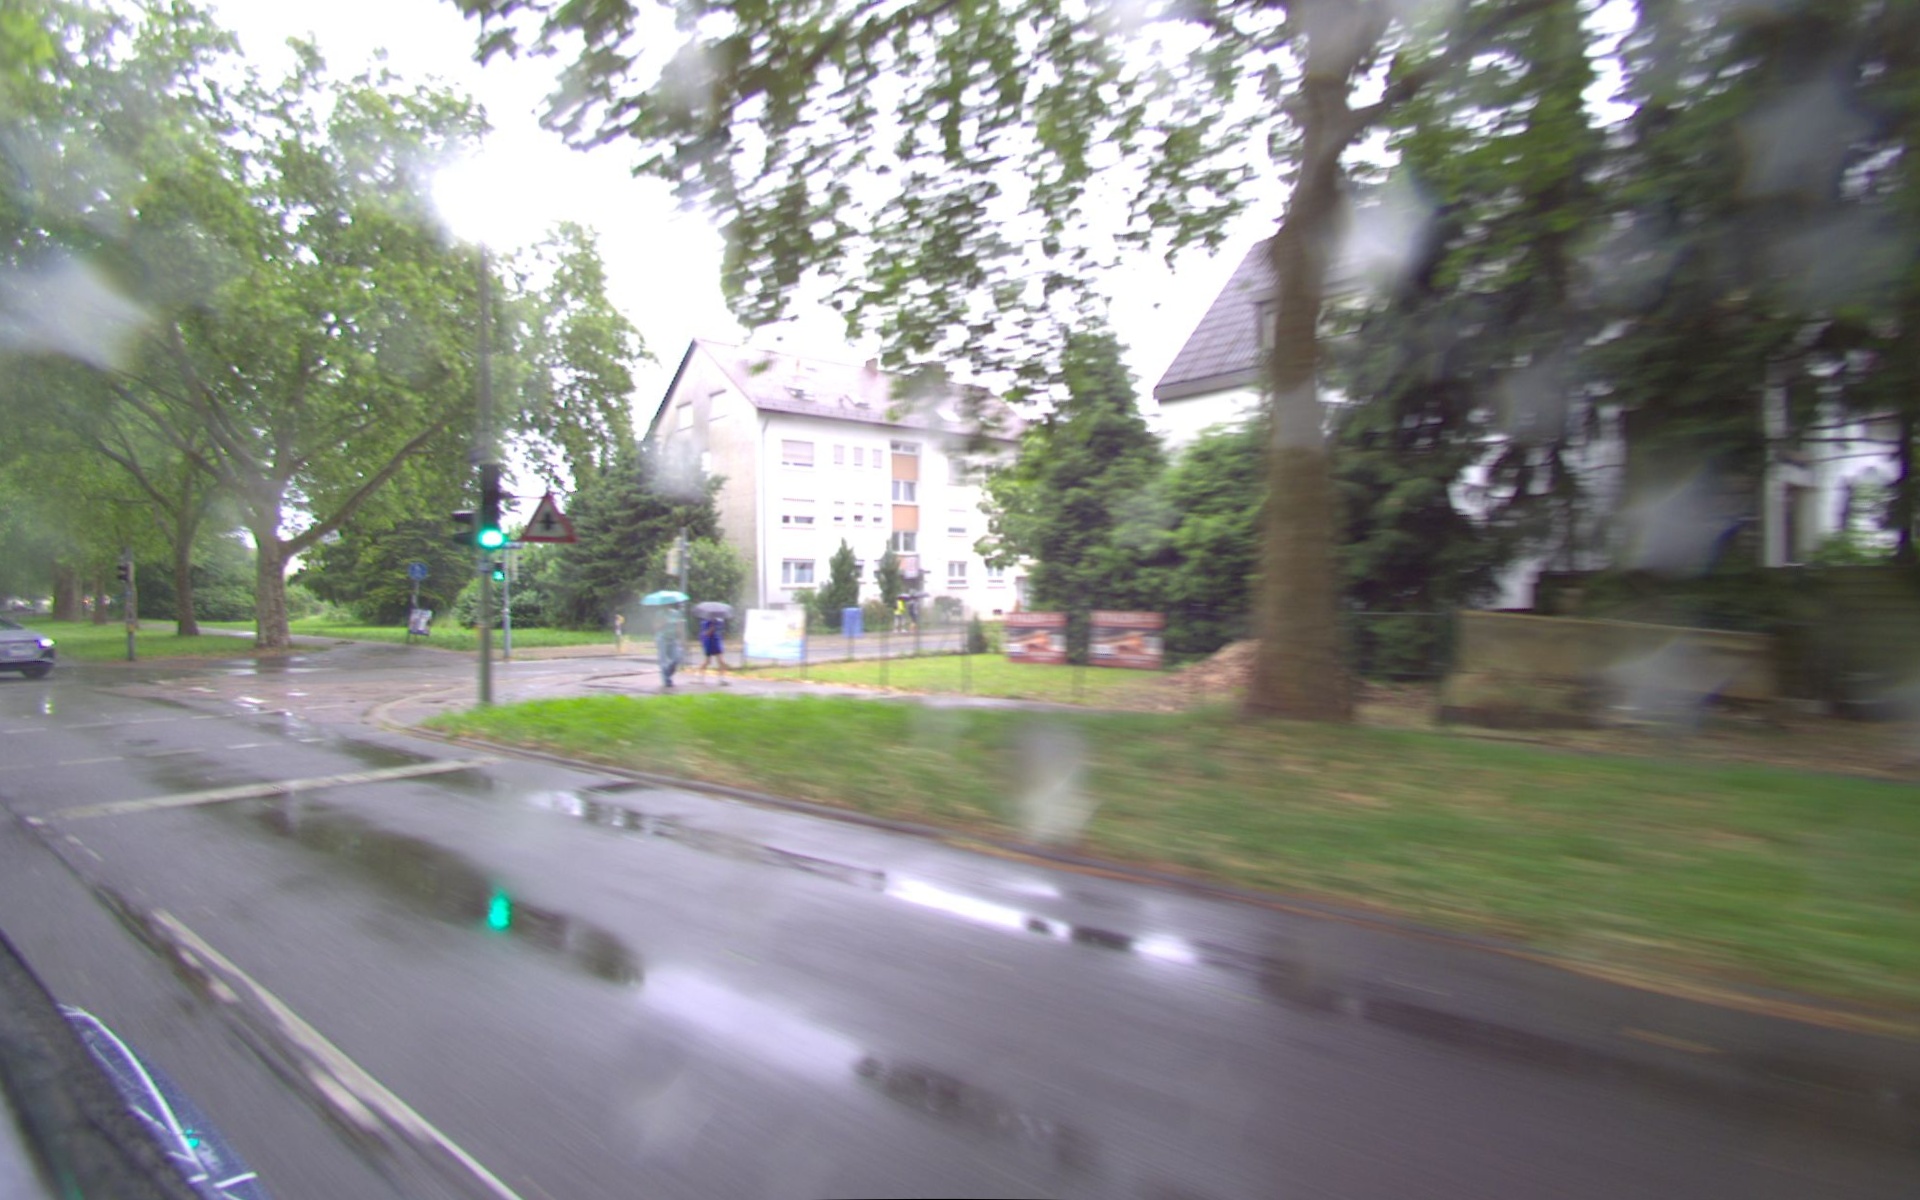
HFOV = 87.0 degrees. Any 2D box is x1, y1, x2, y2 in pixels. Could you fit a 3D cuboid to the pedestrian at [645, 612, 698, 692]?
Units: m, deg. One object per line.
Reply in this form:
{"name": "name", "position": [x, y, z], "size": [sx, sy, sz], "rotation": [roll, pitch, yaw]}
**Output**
{"name": "pedestrian", "position": [-5.468, 0.972, 19.184], "size": [0.856, 1.464, 0.591], "rotation": [-1, 0, 41]}

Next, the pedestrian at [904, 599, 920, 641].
{"name": "pedestrian", "position": [-2.064, 0.869, 43.825], "size": [0.460, 1.796, 0.500], "rotation": [-1, 0, 33]}

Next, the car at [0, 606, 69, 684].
{"name": "car", "position": [-23.285, 1.028, 23.368], "size": [4.682, 1.700, 1.988], "rotation": [-1, 0, 18]}

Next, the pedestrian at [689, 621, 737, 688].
{"name": "pedestrian", "position": [-4.842, 1.060, 19.864], "size": [0.849, 1.271, 0.511], "rotation": [-1, 0, 41]}

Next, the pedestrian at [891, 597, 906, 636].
{"name": "pedestrian", "position": [-2.698, 0.718, 44.548], "size": [0.460, 1.717, 0.500], "rotation": [-1, 0, 33]}
